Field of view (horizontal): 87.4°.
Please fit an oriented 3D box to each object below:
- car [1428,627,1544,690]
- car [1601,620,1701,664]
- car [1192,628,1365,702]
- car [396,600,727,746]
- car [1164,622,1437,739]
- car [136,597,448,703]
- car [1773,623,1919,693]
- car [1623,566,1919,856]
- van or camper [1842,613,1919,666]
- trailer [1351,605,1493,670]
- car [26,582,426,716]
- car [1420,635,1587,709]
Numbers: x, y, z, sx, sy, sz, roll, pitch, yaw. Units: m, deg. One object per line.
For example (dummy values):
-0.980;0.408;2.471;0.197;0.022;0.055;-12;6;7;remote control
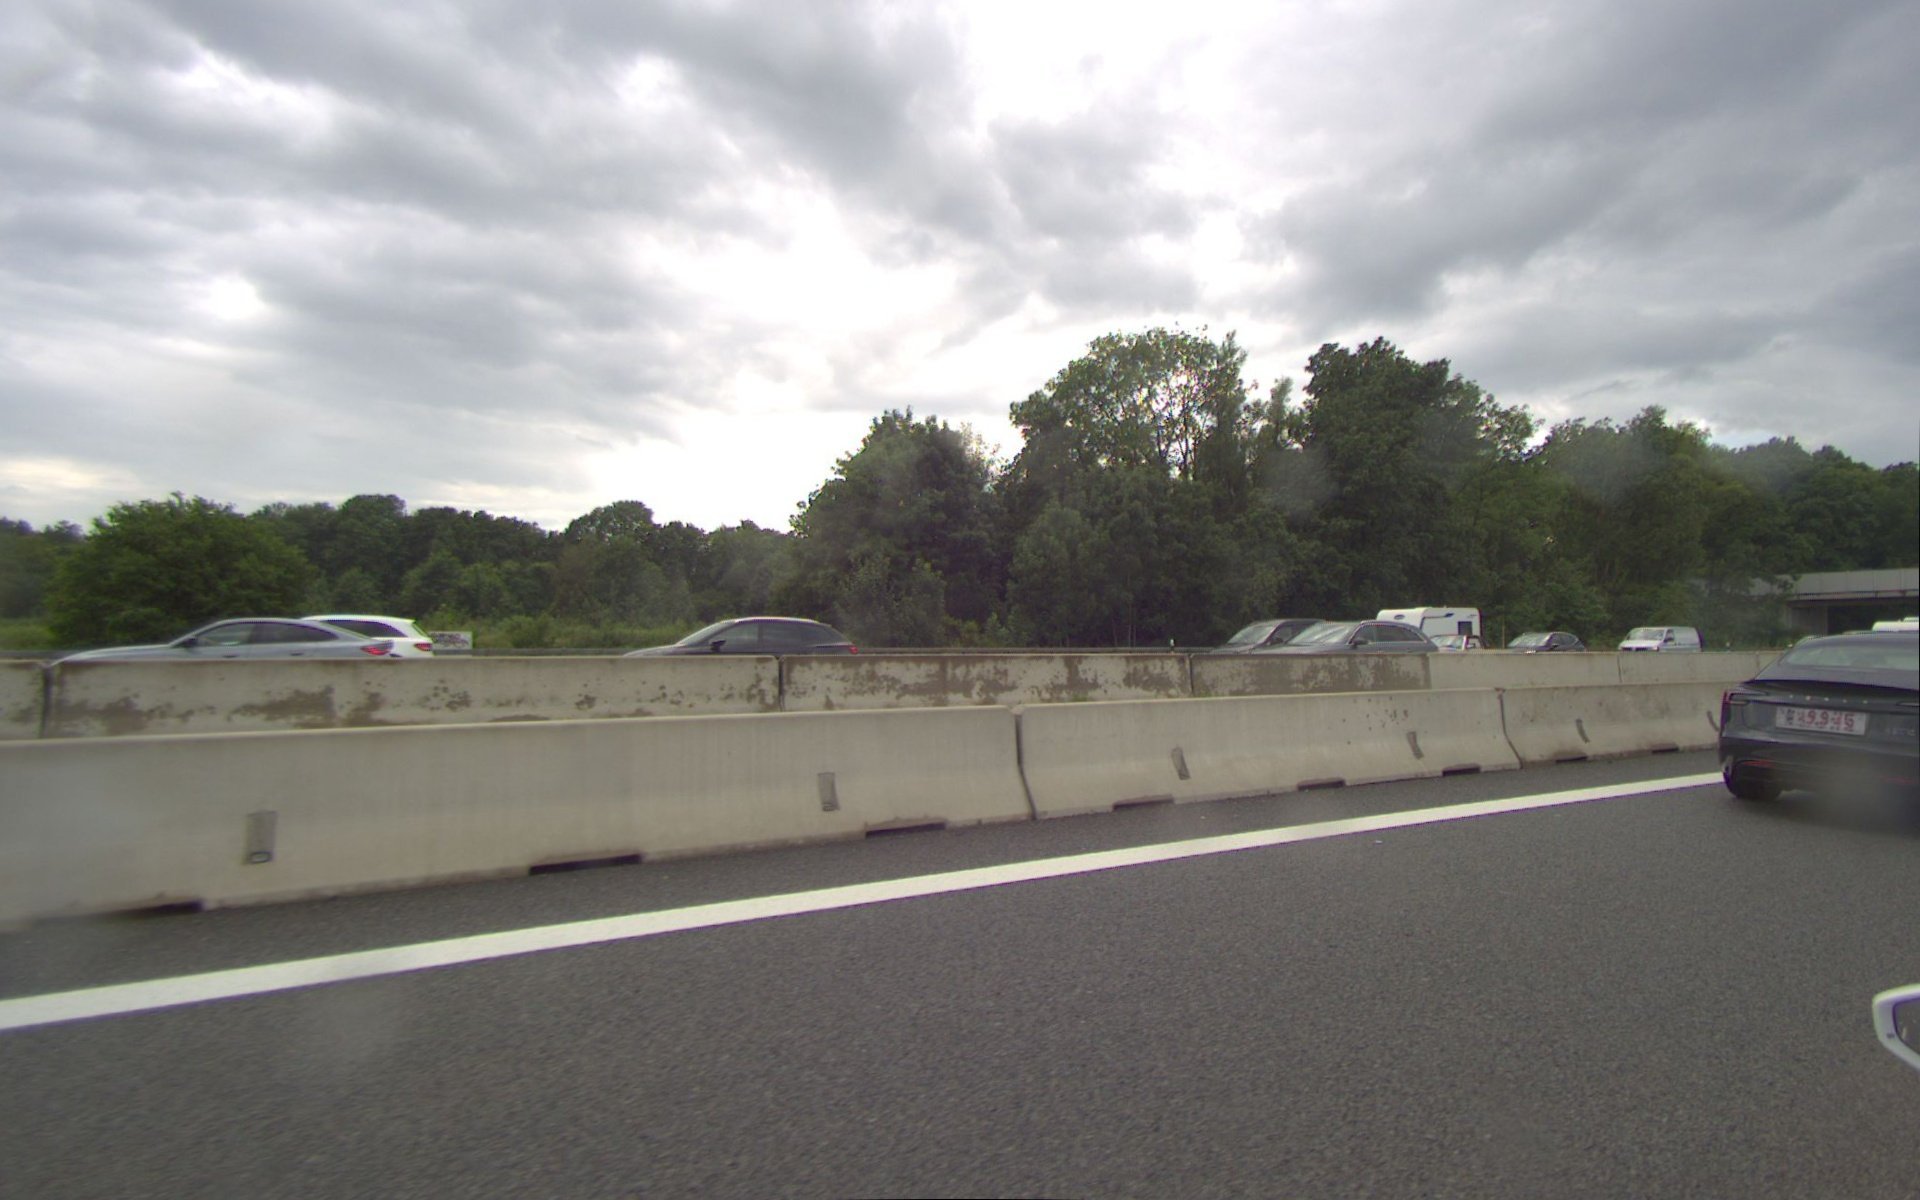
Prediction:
18.493;2.011;35.277;3.953;2.040;1.808;1;0;-30;car
33.285;1.993;48.353;5.164;1.978;1.984;1;0;-30;car
9.558;1.870;29.996;5.164;1.978;1.984;1;0;-30;car
-6.346;1.069;16.132;4.708;2.040;1.984;1;0;-30;car
6.702;1.453;19.645;5.164;1.978;2.231;1;-1;-30;car
-13.678;0.974;21.014;5.164;1.978;2.231;1;-1;-30;car
27.516;1.740;31.093;5.164;1.978;1.984;1;0;-30;car
7.924;0.755;8.388;5.103;1.845;1.983;1;-1;-31;car
51.972;2.147;55.443;8.029;2.743;2.593;1;0;-30;van or camper
18.279;1.452;39.641;5.716;2.406;2.231;1;0;-30;trailer
-12.024;0.769;17.036;5.164;1.978;2.231;1;-1;-30;car
16.099;2.045;29.674;5.164;1.978;1.984;1;0;-30;car
